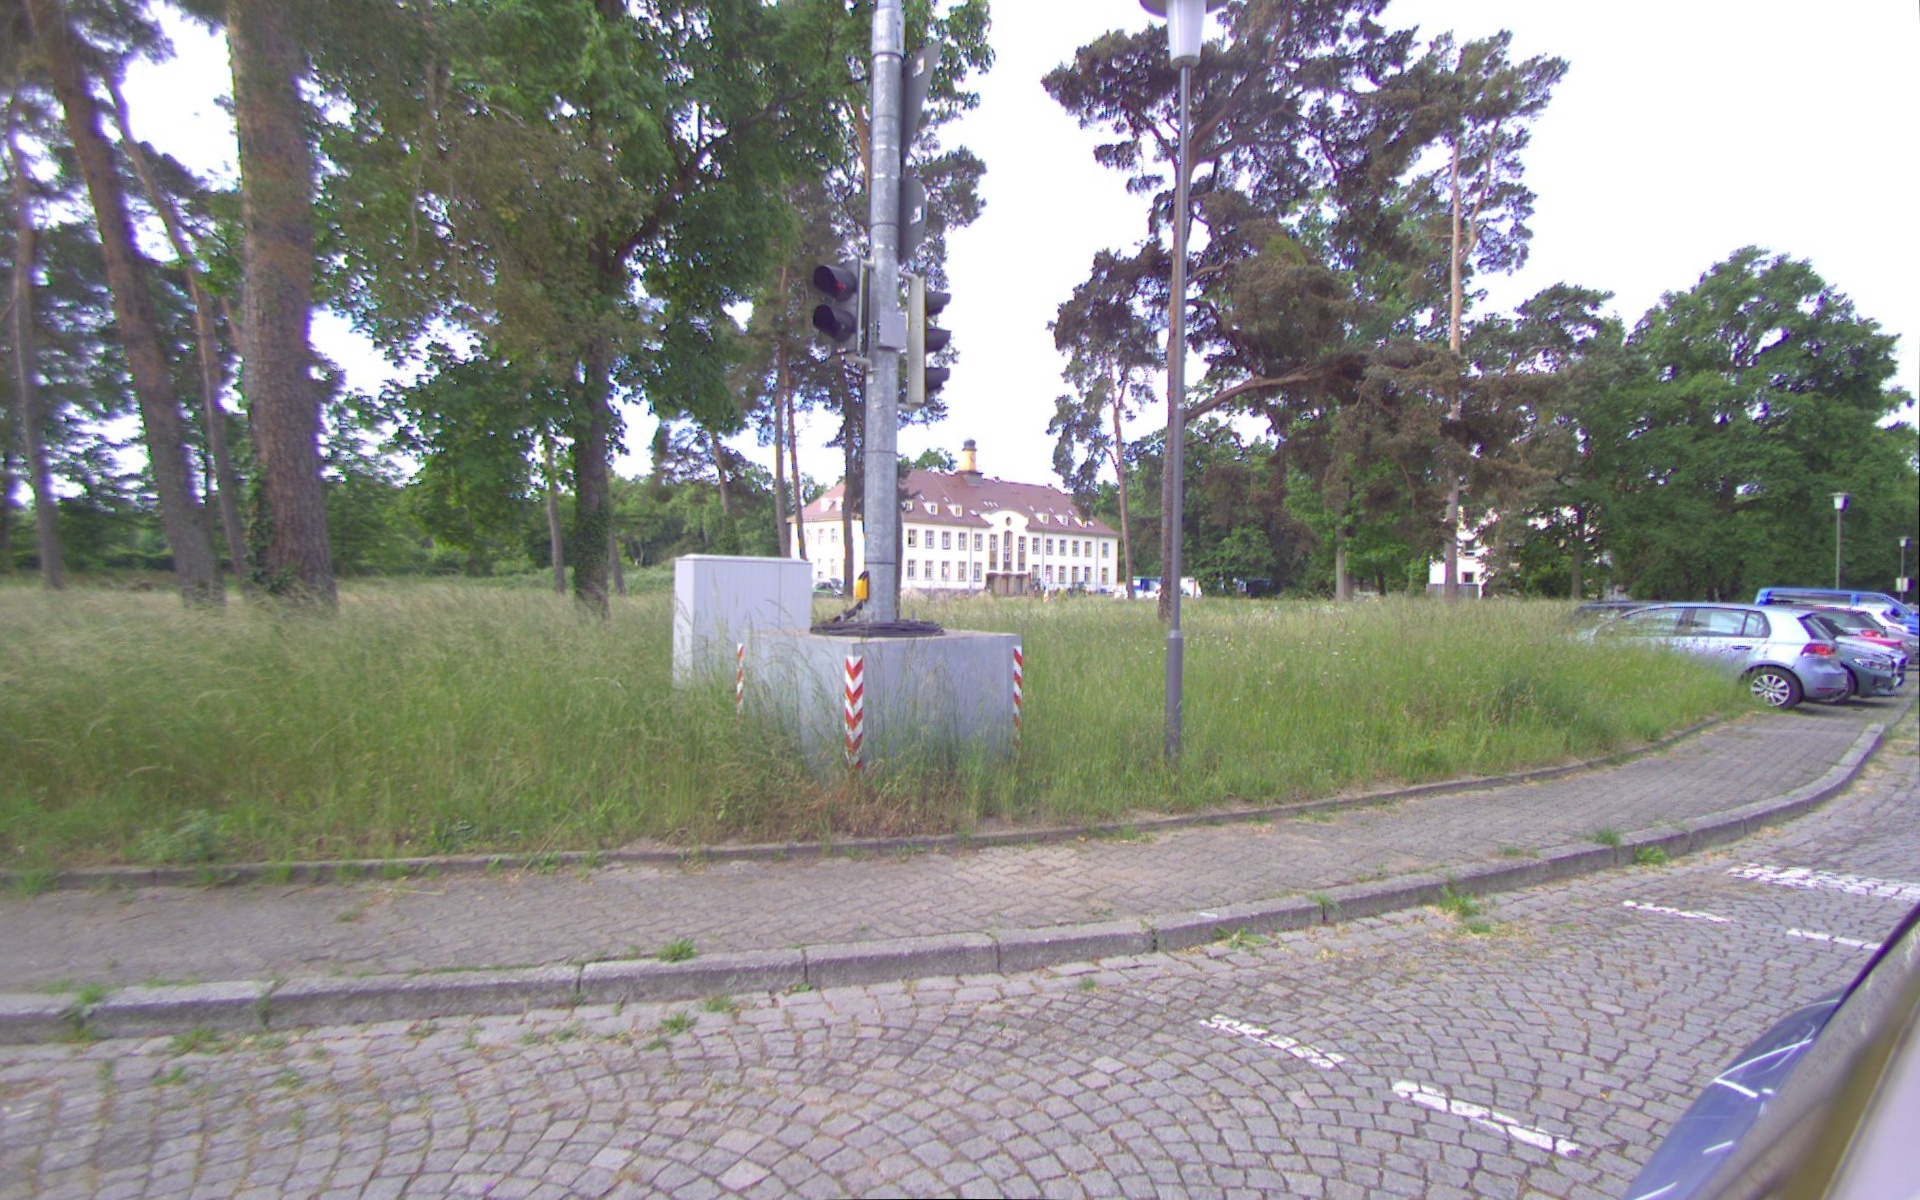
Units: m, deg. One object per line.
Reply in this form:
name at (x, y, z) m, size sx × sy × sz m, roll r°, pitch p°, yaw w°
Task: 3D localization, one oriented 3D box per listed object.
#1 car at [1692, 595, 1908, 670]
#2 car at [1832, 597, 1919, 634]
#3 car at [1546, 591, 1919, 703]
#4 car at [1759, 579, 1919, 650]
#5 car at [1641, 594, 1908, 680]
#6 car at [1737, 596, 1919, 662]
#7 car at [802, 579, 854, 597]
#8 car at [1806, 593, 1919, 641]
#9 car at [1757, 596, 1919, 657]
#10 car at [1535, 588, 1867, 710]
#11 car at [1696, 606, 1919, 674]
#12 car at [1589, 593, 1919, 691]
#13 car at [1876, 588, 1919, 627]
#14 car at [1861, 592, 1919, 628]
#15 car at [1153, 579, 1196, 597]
car at (19.714, 0.694, 23.847) m, size 1.770 × 1.524 × 3.779 m, roll 0°, pitch 1°, yaw -45°
car at (41.209, 0.662, 44.639) m, size 1.966 × 1.549 × 3.991 m, roll 0°, pitch 0°, yaw -43°
car at (12.654, 0.661, 16.823) m, size 4.758 × 1.501 × 1.734 m, roll 2°, pitch 1°, yaw 44°
car at (27.829, 0.422, 31.202) m, size 1.967 × 1.963 × 4.743 m, roll 0°, pitch 2°, yaw -43°
car at (16.275, 0.664, 20.362) m, size 1.769 × 1.470 × 3.967 m, roll 0°, pitch 1°, yaw -43°
car at (22.121, 0.678, 25.424) m, size 1.788 × 1.474 × 3.847 m, roll 0°, pitch 1°, yaw -40°
car at (-15.124, -1.411, 115.860) m, size 6.164 × 1.882 × 2.307 m, roll 2°, pitch 1°, yaw 38°
car at (34.035, 0.598, 37.436) m, size 1.966 × 1.630 × 3.992 m, roll 0°, pitch 1°, yaw -43°
car at (23.969, 0.669, 27.517) m, size 1.609 × 1.470 × 3.405 m, roll 0°, pitch 1°, yaw -42°
car at (10.843, 0.627, 14.980) m, size 3.765 × 1.444 × 1.580 m, roll 4°, pitch 2°, yaw 44°
car at (18.105, 0.800, 21.634) m, size 1.469 × 1.222 × 3.596 m, roll 1°, pitch 1°, yaw -42°
car at (14.679, 0.668, 18.812) m, size 1.782 × 1.501 × 4.763 m, roll 0°, pitch 1°, yaw -43°
car at (51.925, 0.425, 54.263) m, size 1.966 × 2.039 × 3.993 m, roll 0°, pitch 1°, yaw -42°
car at (48.639, 0.522, 51.448) m, size 1.966 × 1.784 × 4.004 m, roll 0°, pitch 1°, yaw -42°
car at (24.713, -1.365, 116.652) m, size 5.132 × 2.039 × 2.152 m, roll 0°, pitch 1°, yaw -41°
